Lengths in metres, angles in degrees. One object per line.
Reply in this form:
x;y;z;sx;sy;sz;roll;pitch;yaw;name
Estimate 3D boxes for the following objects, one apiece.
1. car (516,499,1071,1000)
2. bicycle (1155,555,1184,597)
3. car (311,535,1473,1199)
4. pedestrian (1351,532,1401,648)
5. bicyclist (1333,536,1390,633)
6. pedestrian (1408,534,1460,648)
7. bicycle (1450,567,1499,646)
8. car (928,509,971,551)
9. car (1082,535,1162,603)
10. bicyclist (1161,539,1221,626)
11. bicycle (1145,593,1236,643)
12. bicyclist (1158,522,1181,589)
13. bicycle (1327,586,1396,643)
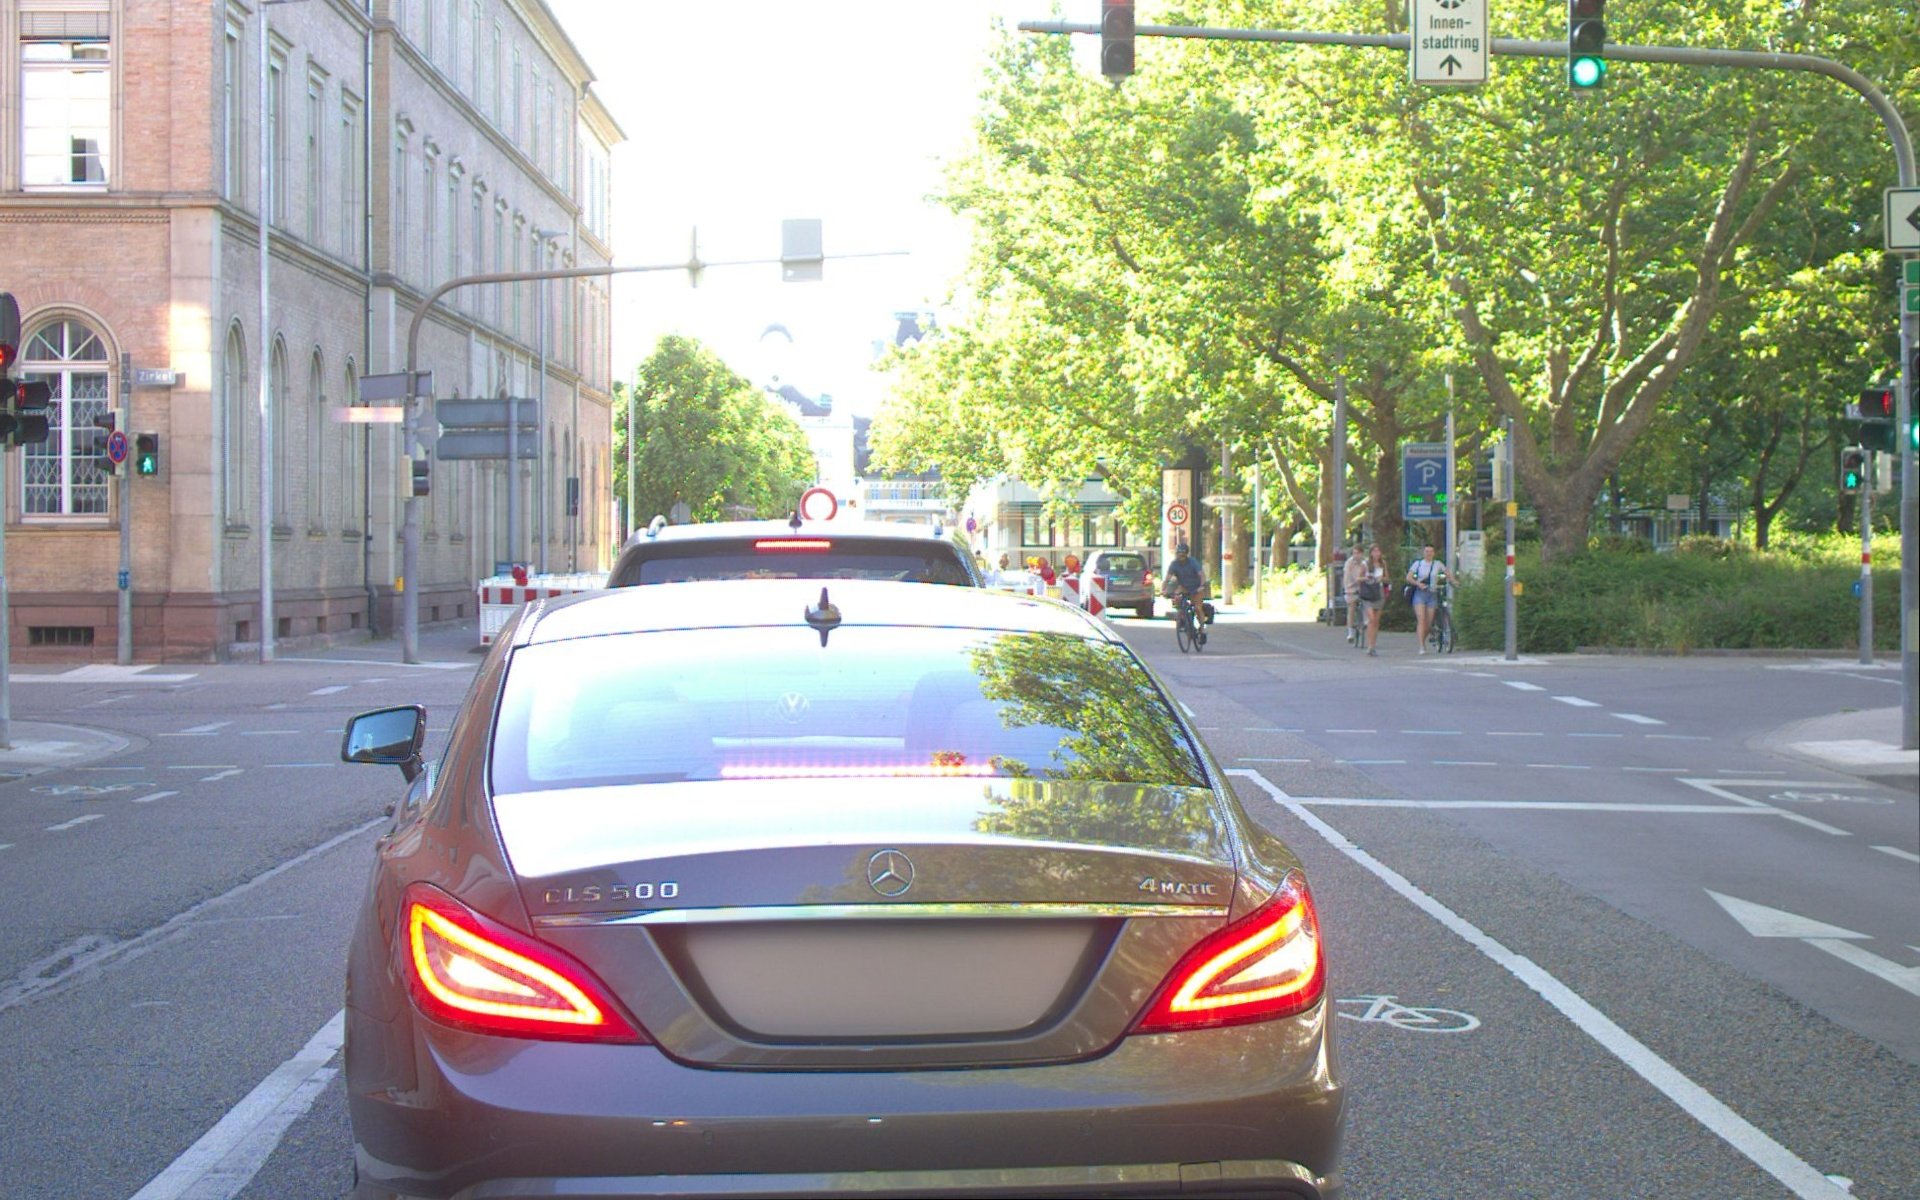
-0.585;0.472;13.610;1.861;1.677;4.000;1;1;-1;car
6.391;-0.731;104.984;0.591;1.259;1.806;1;1;-5;bicycle
-0.364;0.626;7.480;1.861;1.514;4.001;0;1;-8;car
6.510;-0.159;53.814;0.635;1.791;0.699;1;0;-4;pedestrian
6.770;-0.269;58.003;0.825;1.612;0.957;1;0;-1;bicyclist
7.386;-0.140;53.558;0.635;1.754;0.699;1;0;-4;pedestrian
8.002;0.092;53.468;0.482;1.198;1.606;1;0;-1;bicycle
-0.438;-2.860;140.835;1.731;1.656;3.681;1;1;-1;car
4.298;-0.842;91.657;1.861;1.758;4.482;1;1;-1;car
3.758;-0.279;55.851;0.734;1.393;0.697;1;0;28;bicyclist
3.753;0.285;55.870;0.724;0.788;1.925;1;1;28;bicycle
6.404;-1.352;104.952;0.594;2.032;0.566;1;0;-4;bicyclist
6.756;0.232;57.959;0.828;0.921;2.617;1;1;-1;bicycle
